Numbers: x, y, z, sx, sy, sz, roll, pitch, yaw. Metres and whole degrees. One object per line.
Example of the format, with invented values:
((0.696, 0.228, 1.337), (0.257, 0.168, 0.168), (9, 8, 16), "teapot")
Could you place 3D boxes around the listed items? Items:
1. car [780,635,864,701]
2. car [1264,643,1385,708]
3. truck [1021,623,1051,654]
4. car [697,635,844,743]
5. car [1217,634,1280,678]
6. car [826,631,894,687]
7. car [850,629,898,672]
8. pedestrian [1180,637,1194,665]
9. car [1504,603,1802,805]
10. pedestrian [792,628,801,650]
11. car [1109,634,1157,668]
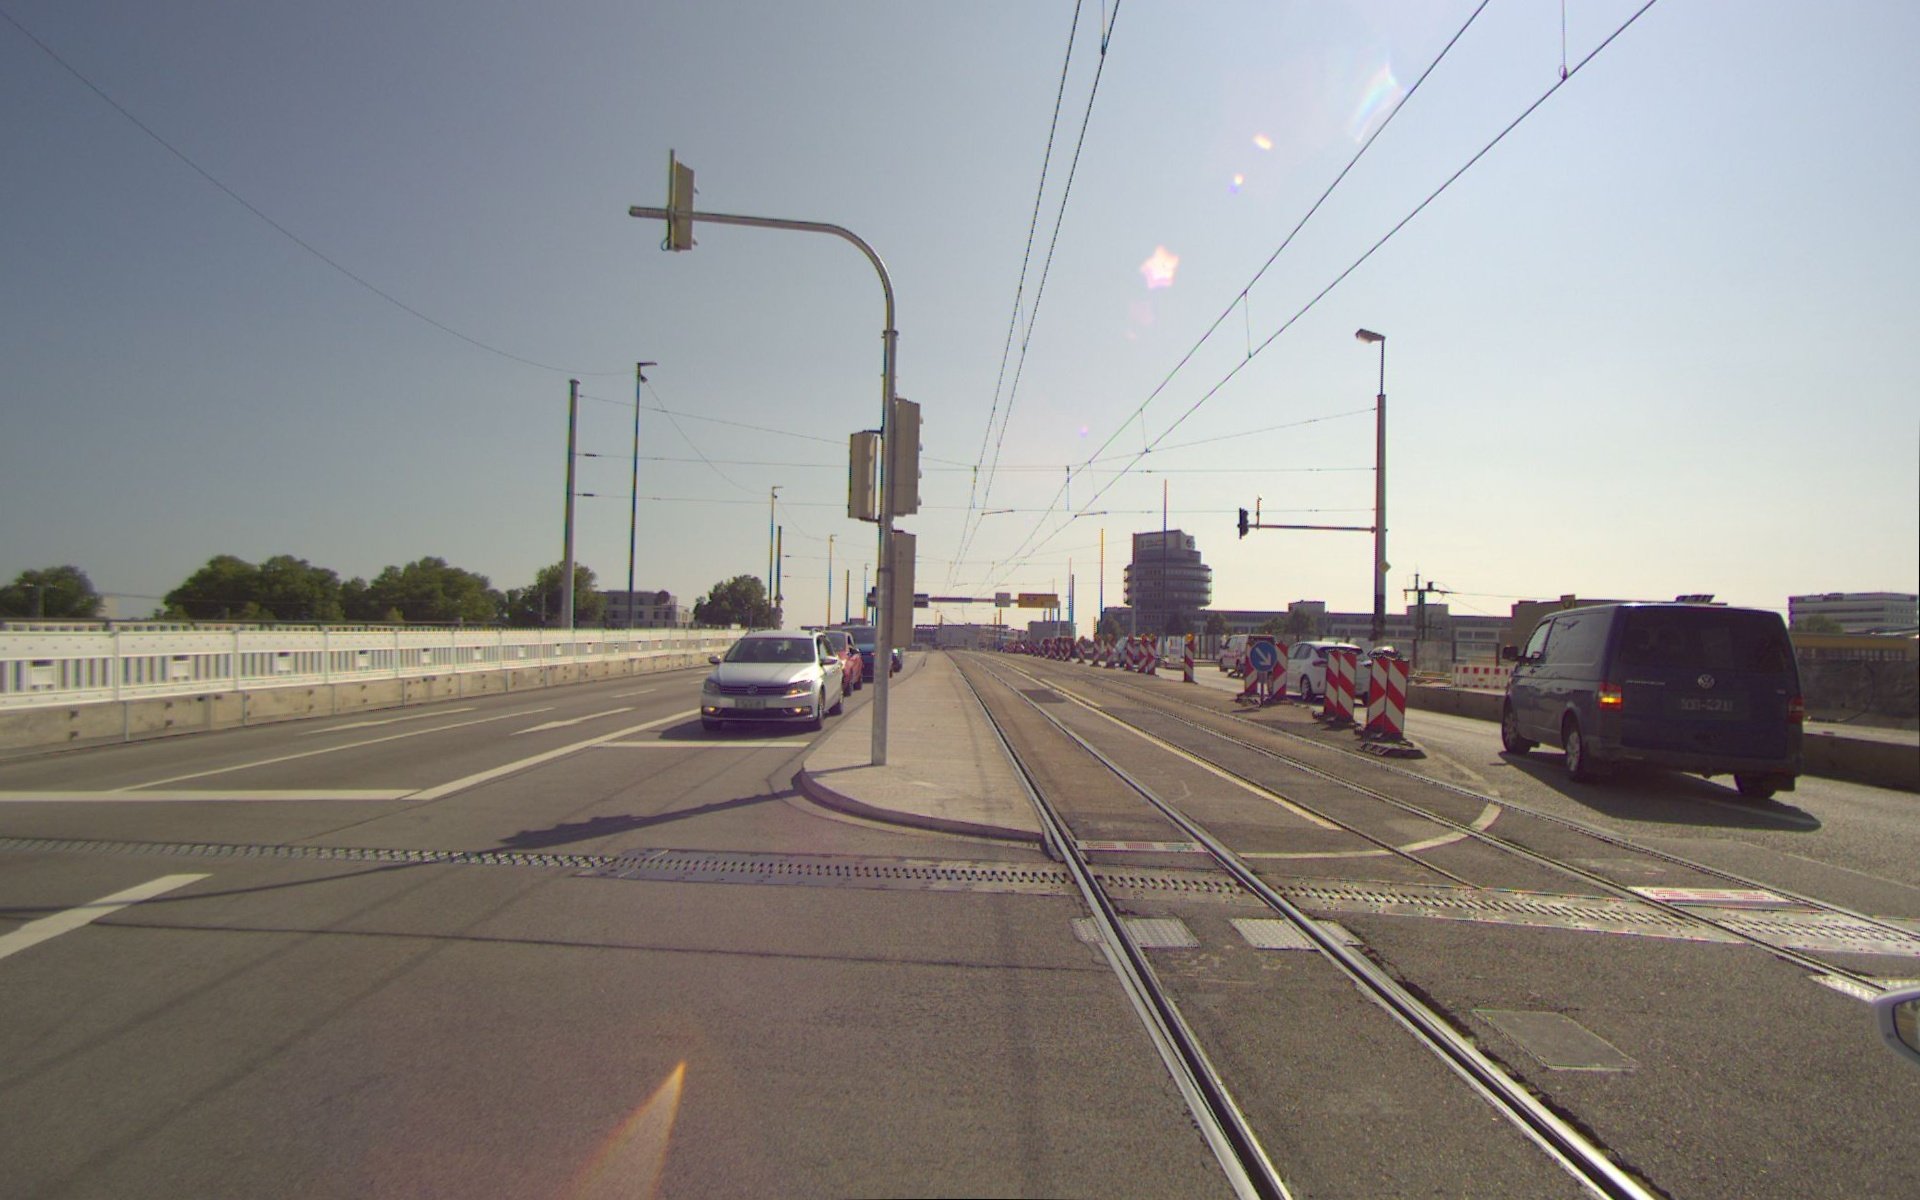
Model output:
((-3.199, 1.557, 23.917), (1.508, 1.456, 3.980), (0, -2, -1), "car")
((8.935, 1.817, 24.907), (1.689, 1.423, 3.412), (2, -2, -1), "car")
((8.267, 4.174, 110.595), (2.420, 3.176, 11.217), (1, -2, 0), "truck")
((-2.880, 1.313, 16.211), (1.611, 1.456, 4.643), (-1, -2, -2), "car")
((14.555, 2.845, 50.958), (1.847, 2.059, 4.893), (2, -3, 1), "car")
((-2.964, 1.742, 30.527), (1.642, 1.570, 4.556), (0, -2, -1), "car")
((-3.217, 1.890, 38.218), (1.480, 1.520, 4.178), (-1, -2, 0), "car")
((15.844, 3.562, 69.996), (0.769, 1.960, 0.800), (0, -3, -1), "pedestrian")
((7.806, 1.064, 11.798), (1.785, 1.930, 4.055), (-1, -2, 18), "car")
((-14.802, 3.518, 90.888), (0.623, 1.918, 0.752), (2, -2, 0), "pedestrian")
((8.564, 2.522, 49.992), (1.689, 1.552, 3.698), (2, -2, -1), "car")
